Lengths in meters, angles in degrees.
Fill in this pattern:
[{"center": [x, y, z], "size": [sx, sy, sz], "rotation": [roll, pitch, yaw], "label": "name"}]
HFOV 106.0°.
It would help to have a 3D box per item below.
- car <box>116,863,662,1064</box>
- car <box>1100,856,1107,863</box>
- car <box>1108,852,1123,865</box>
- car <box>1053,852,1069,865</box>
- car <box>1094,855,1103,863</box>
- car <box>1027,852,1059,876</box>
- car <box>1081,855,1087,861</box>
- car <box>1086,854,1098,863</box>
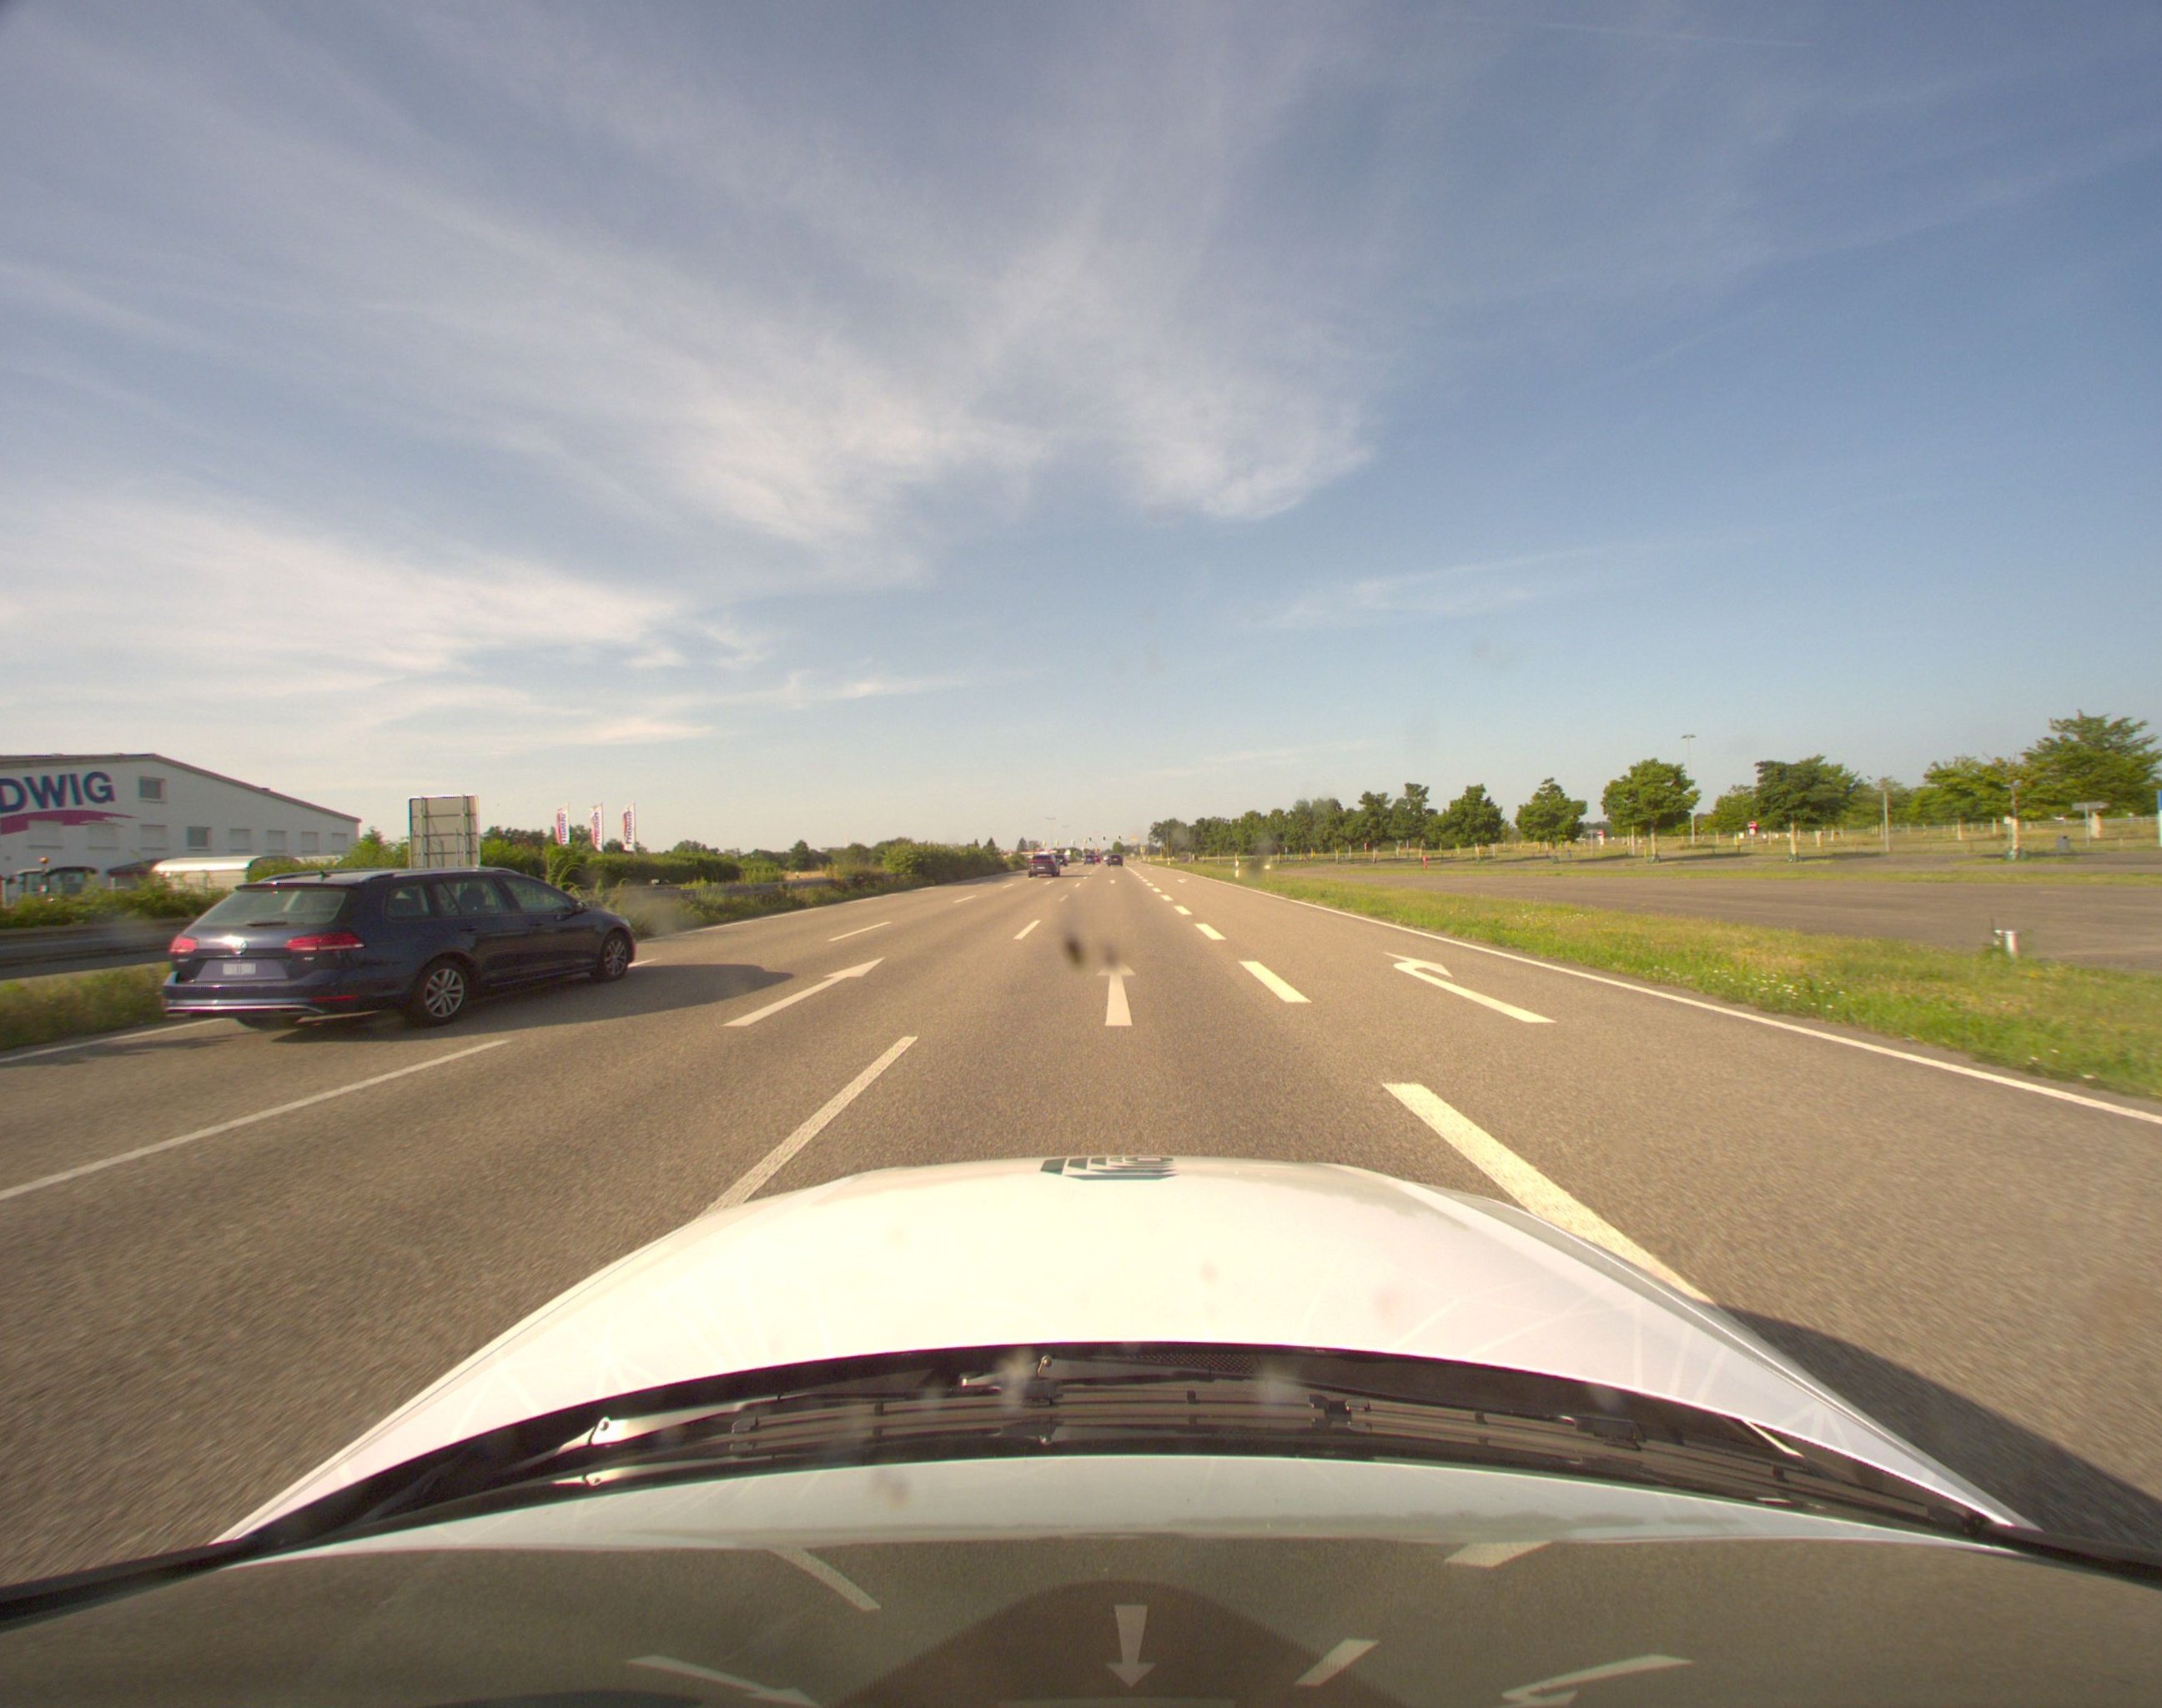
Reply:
[{"center": [-6.657, 0.882, 8.772], "size": [1.640, 1.471, 4.778], "rotation": [-2, 0, 2], "label": "car"}, {"center": [5.595, 1.381, 204.730], "size": [1.639, 1.728, 3.402], "rotation": [-1, -1, 1], "label": "car"}, {"center": [4.629, 0.595, 108.491], "size": [1.925, 1.680, 4.403], "rotation": [0, 0, 2], "label": "car"}, {"center": [-2.730, 0.591, 113.415], "size": [1.925, 1.680, 4.403], "rotation": [0, 0, 2], "label": "car"}, {"center": [3.485, 0.972, 163.717], "size": [1.641, 1.463, 3.982], "rotation": [0, 0, 2], "label": "car"}, {"center": [-2.538, 0.655, 55.686], "size": [1.839, 1.612, 4.403], "rotation": [0, 0, 2], "label": "car"}, {"center": [0.783, 1.162, 234.883], "size": [1.594, 1.532, 4.002], "rotation": [0, 0, 2], "label": "car"}, {"center": [1.881, 0.673, 134.994], "size": [1.806, 1.463, 4.403], "rotation": [0, 0, 2], "label": "car"}]
